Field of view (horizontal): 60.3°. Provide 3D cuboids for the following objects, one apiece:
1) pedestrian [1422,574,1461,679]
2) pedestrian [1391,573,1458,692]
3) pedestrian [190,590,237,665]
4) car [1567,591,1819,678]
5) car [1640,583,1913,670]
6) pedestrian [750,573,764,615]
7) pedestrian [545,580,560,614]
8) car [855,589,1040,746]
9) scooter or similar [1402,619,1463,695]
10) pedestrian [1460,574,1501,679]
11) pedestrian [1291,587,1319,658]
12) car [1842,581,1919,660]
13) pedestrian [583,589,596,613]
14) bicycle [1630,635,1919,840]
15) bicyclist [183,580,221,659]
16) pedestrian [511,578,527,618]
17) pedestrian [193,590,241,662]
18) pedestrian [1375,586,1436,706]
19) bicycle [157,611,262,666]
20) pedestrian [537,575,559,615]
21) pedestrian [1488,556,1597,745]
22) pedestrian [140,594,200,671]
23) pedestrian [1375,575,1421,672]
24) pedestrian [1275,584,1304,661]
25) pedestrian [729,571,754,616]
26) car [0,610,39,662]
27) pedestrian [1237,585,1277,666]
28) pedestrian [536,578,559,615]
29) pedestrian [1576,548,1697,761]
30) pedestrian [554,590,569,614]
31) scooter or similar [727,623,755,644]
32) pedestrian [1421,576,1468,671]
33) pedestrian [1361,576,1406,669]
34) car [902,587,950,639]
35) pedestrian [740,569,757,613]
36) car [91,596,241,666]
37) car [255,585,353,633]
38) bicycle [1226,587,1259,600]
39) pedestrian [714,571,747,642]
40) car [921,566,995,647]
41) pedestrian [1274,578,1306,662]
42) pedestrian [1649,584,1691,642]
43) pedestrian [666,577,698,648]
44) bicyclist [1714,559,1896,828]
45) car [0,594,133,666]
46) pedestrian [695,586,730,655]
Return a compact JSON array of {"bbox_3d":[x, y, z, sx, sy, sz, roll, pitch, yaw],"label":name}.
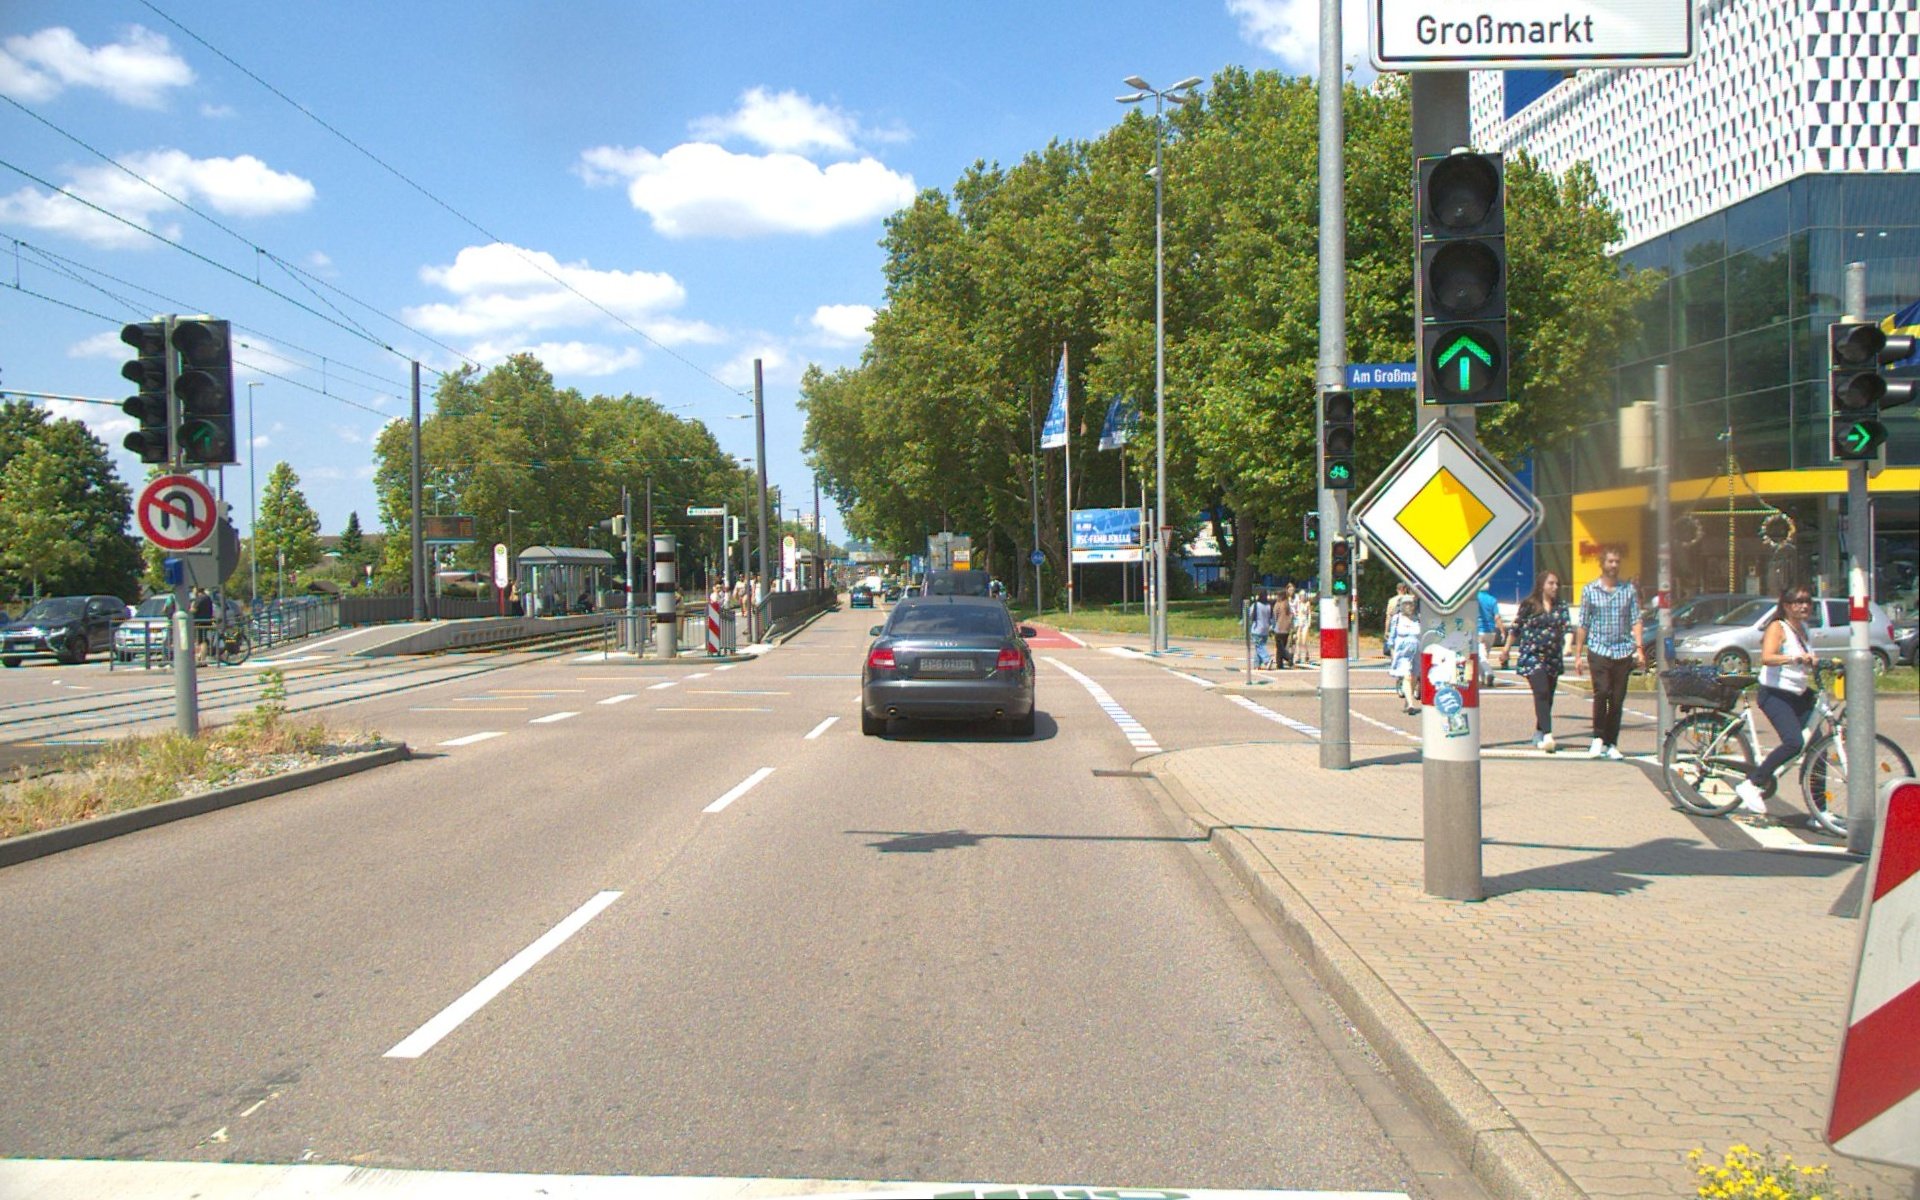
[{"bbox_3d":[7.796,0.423,26.805,0.593,1.666,0.864,0,-1,15],"label":"pedestrian"},{"bbox_3d":[6.778,0.455,24.173,0.765,1.702,0.947,0,0,4],"label":"pedestrian"},{"bbox_3d":[-17.333,0.624,38.412,0.747,1.701,0.763,0,1,-5],"label":"pedestrian"},{"bbox_3d":[13.838,0.625,31.367,3.909,1.583,1.998,0,0,-5],"label":"car"},{"bbox_3d":[13.731,0.420,27.969,3.746,1.421,1.803,0,0,-1],"label":"car"},{"bbox_3d":[-7.817,-0.230,63.804,0.487,1.605,0.556,-1,0,-5],"label":"pedestrian"},{"bbox_3d":[-18.861,-0.124,76.544,0.565,1.560,0.639,-1,1,-3],"label":"pedestrian"},{"bbox_3d":[-0.089,0.646,18.125,1.804,1.510,4.001,0,1,1],"label":"car"},{"bbox_3d":[6.733,0.802,23.603,0.675,1.049,0.863,0,0,4],"label":"scooter or similar"},{"bbox_3d":[8.405,0.428,26.749,0.589,1.666,0.864,0,-1,15],"label":"pedestrian"},{"bbox_3d":[7.778,0.501,37.333,0.516,1.607,0.612,0,0,1],"label":"pedestrian"},{"bbox_3d":[19.537,0.372,31.719,4.313,1.468,1.852,0,0,-4],"label":"car"},{"bbox_3d":[-19.262,0.035,86.009,0.565,1.211,0.639,-1,1,-3],"label":"pedestrian"},{"bbox_3d":[5.657,0.885,11.371,0.820,1.182,1.861,-1,2,-29],"label":"bicycle"},{"bbox_3d":[-15.949,0.408,34.810,0.654,1.643,0.729,0,0,-19],"label":"bicyclist"},{"bbox_3d":[-18.378,-0.093,68.892,0.547,1.666,0.805,-1,1,-10],"label":"pedestrian"},{"bbox_3d":[-16.605,0.577,36.973,0.747,1.575,0.763,0,1,-5],"label":"pedestrian"},{"bbox_3d":[5.728,0.576,21.312,0.577,1.501,0.806,1,0,2],"label":"pedestrian"},{"bbox_3d":[-15.847,0.802,34.951,1.941,1.120,0.760,0,0,-19],"label":"bicycle"},{"bbox_3d":[-18.496,-0.216,74.262,0.723,1.759,0.576,0,1,34],"label":"pedestrian"},{"bbox_3d":[5.653,0.477,16.090,0.787,1.790,0.798,0,0,1],"label":"pedestrian"},{"bbox_3d":[-17.108,0.694,35.845,0.938,1.638,0.763,-1,1,-6],"label":"pedestrian"},{"bbox_3d":[7.784,0.409,29.399,0.778,1.688,0.853,0,0,14],"label":"pedestrian"},{"bbox_3d":[7.316,0.498,36.730,0.516,1.695,0.640,0,0,1],"label":"pedestrian"},{"bbox_3d":[-8.162,-0.249,61.802,0.873,1.633,0.923,-1,1,-4],"label":"pedestrian"},{"bbox_3d":[-29.344,1.086,48.947,1.954,1.470,4.346,0,1,-4],"label":"car"},{"bbox_3d":[6.106,0.509,33.948,0.749,1.634,0.897,0,0,15],"label":"pedestrian"},{"bbox_3d":[-18.893,-0.177,75.770,0.811,1.667,0.576,0,1,34],"label":"pedestrian"},{"bbox_3d":[6.193,0.483,15.177,0.787,1.897,0.798,0,0,1],"label":"pedestrian"},{"bbox_3d":[-18.881,0.095,78.427,0.565,1.113,0.639,-1,1,-3],"label":"pedestrian"},{"bbox_3d":[-5.777,0.885,43.600,0.712,0.514,0.457,-1,1,-6],"label":"scooter or similar"},{"bbox_3d":[8.730,0.406,29.807,0.778,1.688,0.853,0,0,14],"label":"pedestrian"},{"bbox_3d":[7.811,0.407,30.530,0.778,1.688,0.853,0,0,14],"label":"pedestrian"},{"bbox_3d":[-1.352,0.471,65.605,1.811,1.993,4.143,0,0,-1],"label":"car"},{"bbox_3d":[-8.321,-0.348,65.071,0.601,1.710,0.719,0,0,-5],"label":"pedestrian"},{"bbox_3d":[-20.029,0.737,41.923,1.953,1.657,3.999,0,0,-2],"label":"car"},{"bbox_3d":[-23.160,0.289,58.556,1.953,1.657,3.999,0,0,-2],"label":"car"},{"bbox_3d":[20.803,-0.488,121.855,2.272,0.977,0.757,0,0,-8],"label":"bicycle"},{"bbox_3d":[-6.010,0.164,43.367,0.846,1.833,0.882,0,0,-7],"label":"pedestrian"},{"bbox_3d":[-0.079,0.145,42.696,1.811,1.993,4.143,0,0,-1],"label":"car"},{"bbox_3d":[6.867,0.405,34.446,0.609,1.712,0.726,0,0,15],"label":"pedestrian"},{"bbox_3d":[20.153,0.368,46.973,0.900,1.613,0.632,-1,1,-8],"label":"pedestrian"},{"bbox_3d":[-6.804,0.301,40.529,0.718,1.702,0.677,0,0,-6],"label":"pedestrian"},{"bbox_3d":[5.728,0.592,11.230,0.805,1.730,0.791,-1,2,-30],"label":"bicyclist"},{"bbox_3d":[-22.686,0.717,41.469,1.953,1.657,3.999,0,1,-2],"label":"car"},{"bbox_3d":[-5.863,0.481,39.225,0.770,1.600,0.763,0,0,-6],"label":"pedestrian"}]
